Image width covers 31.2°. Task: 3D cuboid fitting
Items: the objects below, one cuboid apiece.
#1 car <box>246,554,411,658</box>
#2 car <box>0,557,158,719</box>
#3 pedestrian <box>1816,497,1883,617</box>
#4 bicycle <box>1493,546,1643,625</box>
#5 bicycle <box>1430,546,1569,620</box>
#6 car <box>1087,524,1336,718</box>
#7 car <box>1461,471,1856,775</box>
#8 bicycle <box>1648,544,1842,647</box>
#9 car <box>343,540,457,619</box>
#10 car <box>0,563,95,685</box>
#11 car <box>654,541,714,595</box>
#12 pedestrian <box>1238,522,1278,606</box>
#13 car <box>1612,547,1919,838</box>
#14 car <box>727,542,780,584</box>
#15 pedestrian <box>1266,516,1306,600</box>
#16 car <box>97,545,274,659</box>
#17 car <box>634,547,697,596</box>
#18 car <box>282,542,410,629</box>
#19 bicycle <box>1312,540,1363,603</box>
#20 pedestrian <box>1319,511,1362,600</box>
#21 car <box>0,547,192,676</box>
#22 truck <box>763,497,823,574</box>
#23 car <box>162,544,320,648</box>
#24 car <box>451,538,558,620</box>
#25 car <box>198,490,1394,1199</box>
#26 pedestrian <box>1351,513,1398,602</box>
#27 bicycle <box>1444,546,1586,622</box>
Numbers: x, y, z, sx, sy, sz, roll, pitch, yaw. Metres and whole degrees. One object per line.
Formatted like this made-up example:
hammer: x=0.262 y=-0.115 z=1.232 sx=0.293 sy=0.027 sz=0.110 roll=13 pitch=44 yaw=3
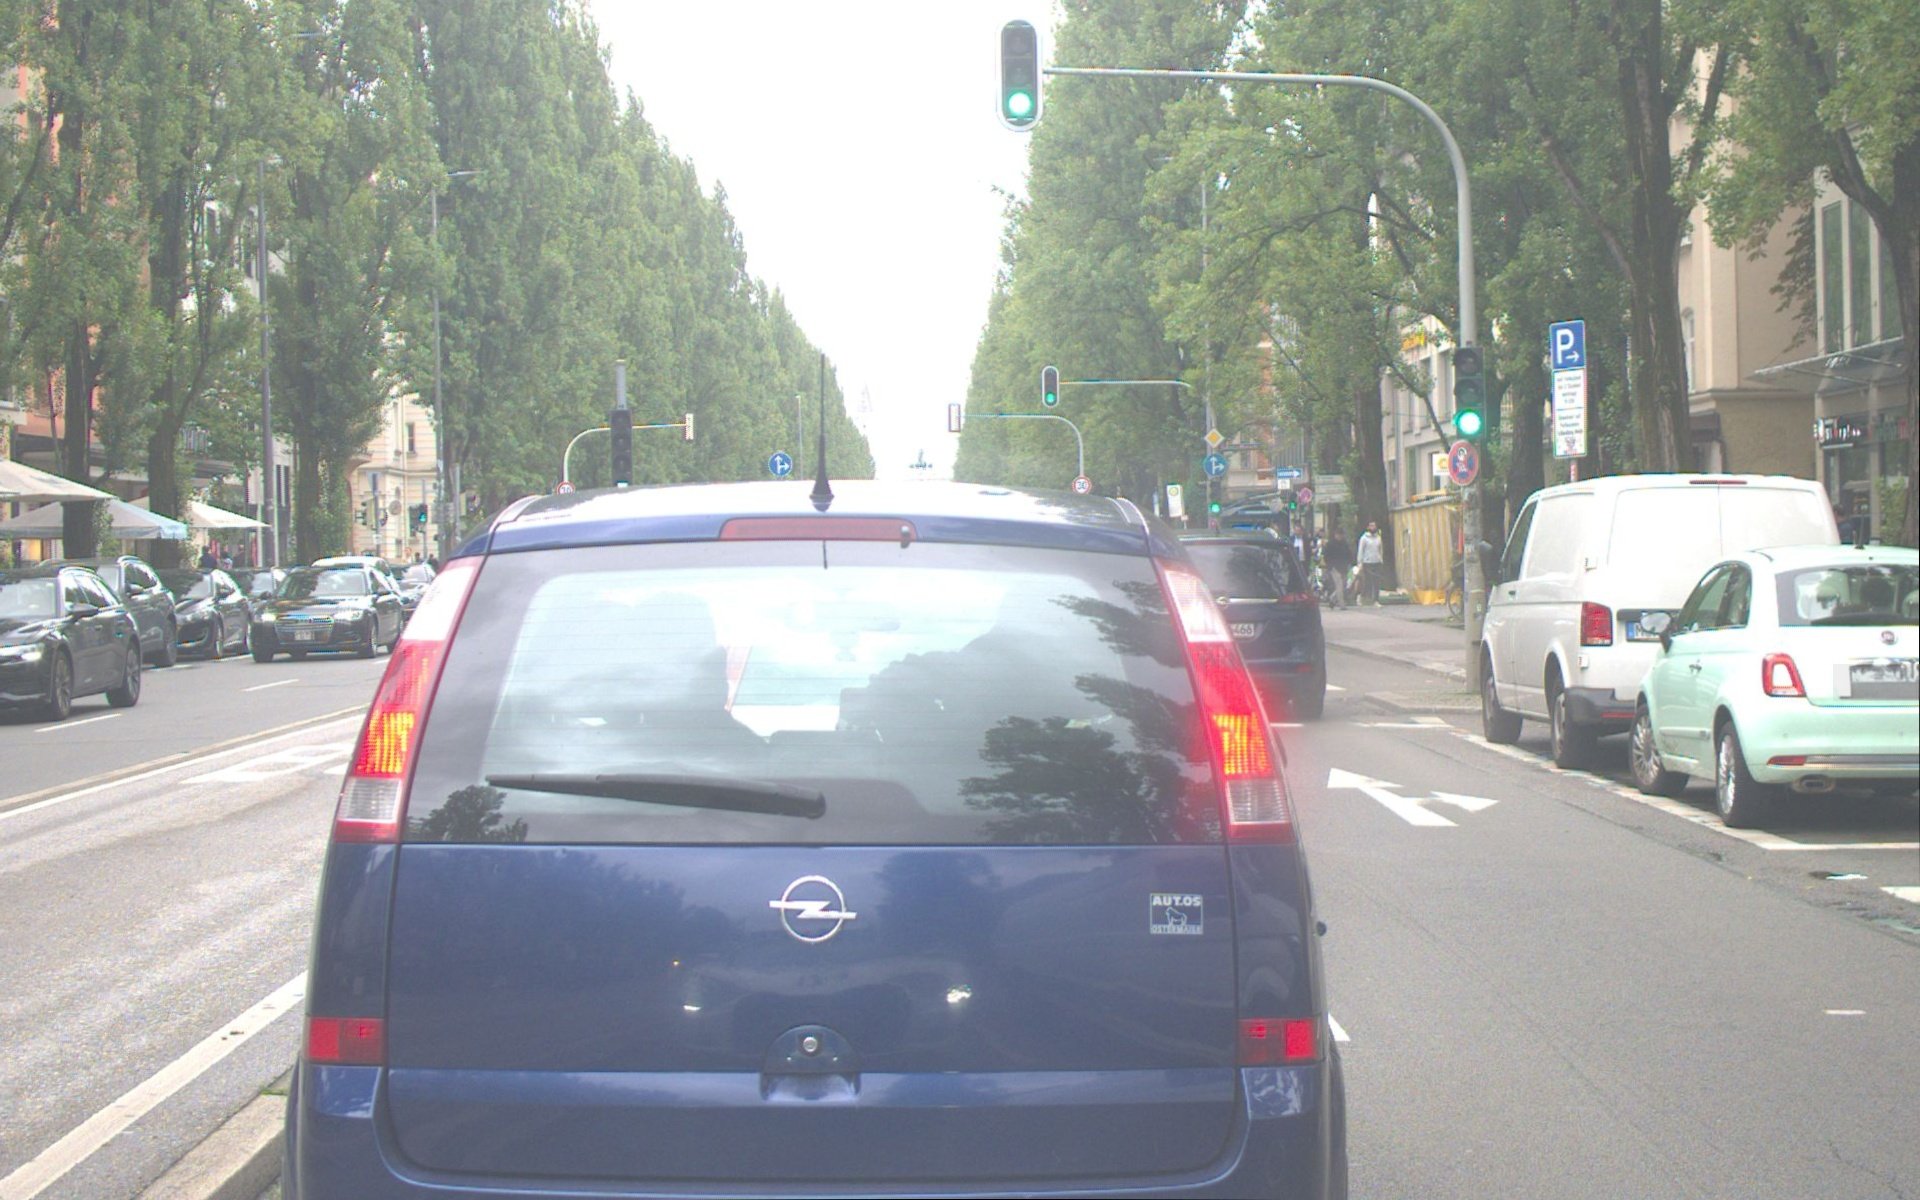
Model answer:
car: x=-9.575 y=0.062 z=52.399 sx=1.745 sy=1.429 sz=4.130 roll=-3 pitch=1 yaw=-1
car: x=-9.401 y=0.352 z=34.273 sx=1.697 sy=1.457 sz=4.713 roll=-3 pitch=1 yaw=-1
pedestrian: x=12.637 y=-0.604 z=48.850 sx=0.673 sy=1.680 sz=0.759 roll=-2 pitch=0 yaw=-5
bicycle: x=9.616 y=-0.233 z=54.427 sx=2.227 sy=1.200 sz=0.626 roll=-1 pitch=1 yaw=-2
bicycle: x=9.209 y=-0.293 z=58.717 sx=2.227 sy=1.200 sz=0.626 roll=-1 pitch=1 yaw=-2
car: x=2.167 y=0.135 z=30.643 sx=1.896 sy=1.616 sz=4.000 roll=0 pitch=1 yaw=0
car: x=4.823 y=0.102 z=24.401 sx=1.787 sy=1.939 sz=4.731 roll=0 pitch=1 yaw=-1
bicycle: x=9.697 y=-0.060 z=42.478 sx=2.227 sy=1.200 sz=0.626 roll=-1 pitch=1 yaw=-2
car: x=-12.683 y=-0.494 z=78.070 sx=1.866 sy=1.660 sz=4.120 roll=-3 pitch=1 yaw=-1
car: x=-12.247 y=0.298 z=43.100 sx=1.733 sy=1.421 sz=4.144 roll=-3 pitch=1 yaw=-1
car: x=-10.544 y=-1.253 z=131.394 sx=1.993 sy=2.007 sz=4.000 roll=-1 pitch=1 yaw=-1
pedestrian: x=6.531 y=-0.780 z=75.361 sx=0.636 sy=1.820 sz=0.888 roll=1 pitch=0 yaw=-10
car: x=4.775 y=0.446 z=19.367 sx=1.541 sy=1.487 sz=3.523 roll=0 pitch=1 yaw=0
car: x=-7.474 y=-1.347 z=124.813 sx=1.735 sy=1.460 sz=3.365 roll=-1 pitch=1 yaw=-1
pedestrian: x=7.161 y=-0.919 z=75.519 sx=0.636 sy=1.820 sz=0.888 roll=1 pitch=0 yaw=-10
car: x=-12.338 y=-0.002 z=55.013 sx=1.866 sy=1.660 sz=4.120 roll=-3 pitch=1 yaw=-1
car: x=-10.278 y=-1.014 z=120.392 sx=1.866 sy=1.660 sz=4.120 roll=-1 pitch=1 yaw=-1
car: x=-12.599 y=-0.326 z=70.796 sx=1.866 sy=1.660 sz=4.120 roll=-3 pitch=1 yaw=-1
bicycle: x=8.269 y=-0.641 z=75.356 sx=0.772 sy=1.344 sz=2.449 roll=-1 pitch=1 yaw=-1
pedestrian: x=7.856 y=-0.912 z=70.965 sx=0.636 sy=1.820 sz=0.888 roll=1 pitch=0 yaw=-10
car: x=-12.330 y=0.132 z=48.758 sx=1.866 sy=1.660 sz=4.401 roll=-3 pitch=1 yaw=-1
truck: x=-7.478 y=-2.883 z=154.325 sx=2.383 sy=3.335 sz=7.111 roll=-1 pitch=1 yaw=-1
car: x=-12.506 y=-0.100 z=60.009 sx=1.866 sy=1.660 sz=4.120 roll=-3 pitch=1 yaw=-1
car: x=-9.725 y=-0.475 z=73.704 sx=1.770 sy=1.629 sz=4.456 roll=-2 pitch=1 yaw=-1
car: x=-0.242 y=0.590 z=6.815 sx=1.671 sy=1.563 sz=4.000 roll=0 pitch=1 yaw=0
pedestrian: x=8.577 y=-0.882 z=71.177 sx=0.719 sy=1.820 sz=0.888 roll=1 pitch=0 yaw=-10
bicycle: x=9.250 y=-0.274 z=57.339 sx=2.227 sy=1.200 sz=0.626 roll=-1 pitch=1 yaw=-2
